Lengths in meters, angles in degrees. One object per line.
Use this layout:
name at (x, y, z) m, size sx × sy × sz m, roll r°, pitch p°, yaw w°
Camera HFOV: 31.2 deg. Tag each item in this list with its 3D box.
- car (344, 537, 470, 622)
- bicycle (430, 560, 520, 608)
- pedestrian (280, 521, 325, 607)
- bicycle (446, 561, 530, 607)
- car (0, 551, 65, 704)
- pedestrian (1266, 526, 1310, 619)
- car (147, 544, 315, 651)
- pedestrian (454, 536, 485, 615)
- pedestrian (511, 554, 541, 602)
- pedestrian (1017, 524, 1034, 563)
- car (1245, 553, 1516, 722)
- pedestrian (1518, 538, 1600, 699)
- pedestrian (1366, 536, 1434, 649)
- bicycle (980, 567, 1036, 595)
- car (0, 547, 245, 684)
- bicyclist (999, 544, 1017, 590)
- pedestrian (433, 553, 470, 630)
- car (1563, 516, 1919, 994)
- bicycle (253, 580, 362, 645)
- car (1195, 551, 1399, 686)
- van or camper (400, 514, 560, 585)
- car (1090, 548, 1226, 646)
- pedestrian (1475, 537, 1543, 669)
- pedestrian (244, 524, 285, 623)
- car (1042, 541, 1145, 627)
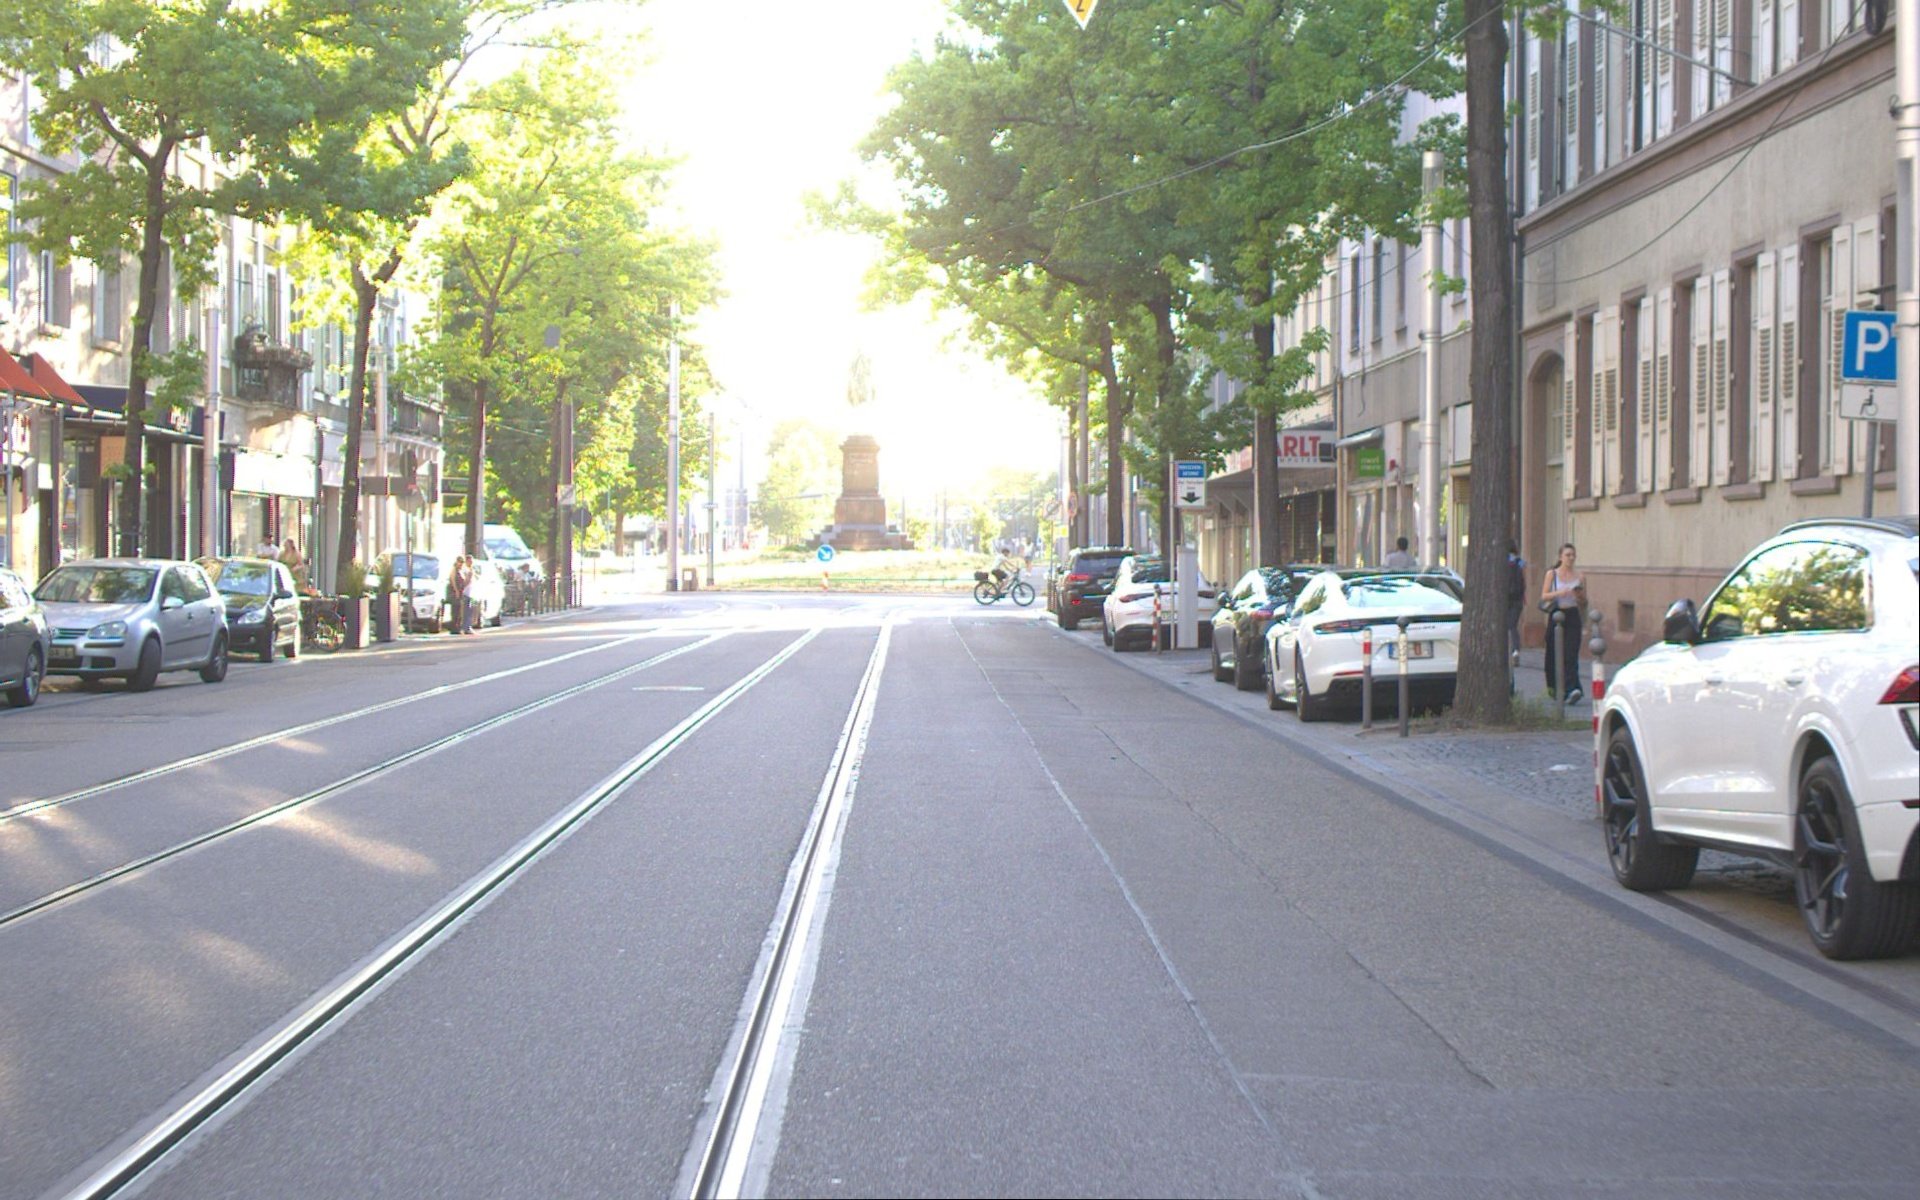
car at (-11.238, -0.437, 70.153) m, size 1.836 × 1.575 × 4.116 m, roll 4°, pitch 1°, yaw 0°
bicycle at (-11.903, -0.390, 84.375) m, size 2.108 × 1.101 × 0.501 m, roll 2°, pitch 0°, yaw -26°
pedestrian at (-13.465, -0.741, 70.446) m, size 0.722 × 1.754 × 1.090 m, roll 0°, pitch 1°, yaw -1°
bicycle at (-11.957, -0.399, 87.066) m, size 2.024 × 1.101 × 0.501 m, roll 2°, pitch 0°, yaw 2°
car at (-10.114, 0.250, 33.305) m, size 1.711 × 1.456 × 4.486 m, roll 2°, pitch 1°, yaw -1°
pedestrian at (6.053, -0.508, 63.427) m, size 0.643 × 1.664 × 0.786 m, roll -3°, pitch 1°, yaw -1°
car at (-10.649, -0.061, 50.462) m, size 1.665 × 1.423 × 3.828 m, roll 3°, pitch 1°, yaw -1°
pedestrian at (-9.674, -0.479, 67.825) m, size 0.521 × 1.564 × 0.634 m, roll 0°, pitch 0°, yaw 0°
pedestrian at (-11.772, -0.597, 93.360) m, size 0.728 × 1.286 × 0.857 m, roll 1°, pitch 1°, yaw -3°
pedestrian at (2.709, -2.341, 142.162) m, size 0.636 × 1.600 × 0.772 m, roll 0°, pitch 1°, yaw -3°
car at (3.945, 0.303, 33.023) m, size 1.912 × 1.415 × 4.888 m, roll -2°, pitch 1°, yaw 0°
pedestrian at (5.892, 0.176, 33.846) m, size 0.649 × 1.568 × 0.798 m, roll 0°, pitch 1°, yaw -1°
pedestrian at (7.013, -0.122, 54.827) m, size 0.858 × 1.747 × 0.933 m, roll -3°, pitch 1°, yaw -1°
bicycle at (1.480, -0.582, 106.492) m, size 1.731 × 0.861 × 0.367 m, roll 0°, pitch 1°, yaw -1°
car at (-9.758, 0.152, 39.925) m, size 1.767 × 1.492 × 4.174 m, roll 1°, pitch 0°, yaw 4°
bicyclist at (1.489, -1.032, 106.495) m, size 0.536 × 1.433 × 0.367 m, roll 0°, pitch 1°, yaw -1°
pedestrian at (-9.909, -0.163, 67.030) m, size 0.620 × 1.504 × 0.729 m, roll 0°, pitch 0°, yaw 0°
car at (4.184, 0.500, 14.658) m, size 1.997 × 1.682 × 4.968 m, roll -2°, pitch 0°, yaw -4°
bicycle at (-10.375, 0.204, 54.712) m, size 1.616 × 0.962 × 0.432 m, roll 2°, pitch 1°, yaw 5°
car at (4.001, 0.178, 41.579) m, size 1.833 × 1.473 × 4.762 m, roll -2°, pitch 1°, yaw -2°
van or camper at (-17.182, -1.843, 122.794) m, size 2.608 × 2.464 × 6.317 m, roll -1°, pitch 2°, yaw -41°
car at (3.352, -0.082, 59.111) m, size 1.993 × 1.493 × 4.680 m, roll -3°, pitch 1°, yaw 0°
pedestrian at (7.069, 0.036, 44.320) m, size 0.658 × 1.659 × 0.888 m, roll -2°, pitch 1°, yaw -2°
pedestrian at (-14.248, -0.548, 70.448) m, size 0.722 × 2.007 × 0.643 m, roll 0°, pitch 1°, yaw -1°
car at (2.923, -0.382, 76.276) m, size 1.938 × 1.753 × 4.680 m, roll -3°, pitch 1°, yaw -1°
